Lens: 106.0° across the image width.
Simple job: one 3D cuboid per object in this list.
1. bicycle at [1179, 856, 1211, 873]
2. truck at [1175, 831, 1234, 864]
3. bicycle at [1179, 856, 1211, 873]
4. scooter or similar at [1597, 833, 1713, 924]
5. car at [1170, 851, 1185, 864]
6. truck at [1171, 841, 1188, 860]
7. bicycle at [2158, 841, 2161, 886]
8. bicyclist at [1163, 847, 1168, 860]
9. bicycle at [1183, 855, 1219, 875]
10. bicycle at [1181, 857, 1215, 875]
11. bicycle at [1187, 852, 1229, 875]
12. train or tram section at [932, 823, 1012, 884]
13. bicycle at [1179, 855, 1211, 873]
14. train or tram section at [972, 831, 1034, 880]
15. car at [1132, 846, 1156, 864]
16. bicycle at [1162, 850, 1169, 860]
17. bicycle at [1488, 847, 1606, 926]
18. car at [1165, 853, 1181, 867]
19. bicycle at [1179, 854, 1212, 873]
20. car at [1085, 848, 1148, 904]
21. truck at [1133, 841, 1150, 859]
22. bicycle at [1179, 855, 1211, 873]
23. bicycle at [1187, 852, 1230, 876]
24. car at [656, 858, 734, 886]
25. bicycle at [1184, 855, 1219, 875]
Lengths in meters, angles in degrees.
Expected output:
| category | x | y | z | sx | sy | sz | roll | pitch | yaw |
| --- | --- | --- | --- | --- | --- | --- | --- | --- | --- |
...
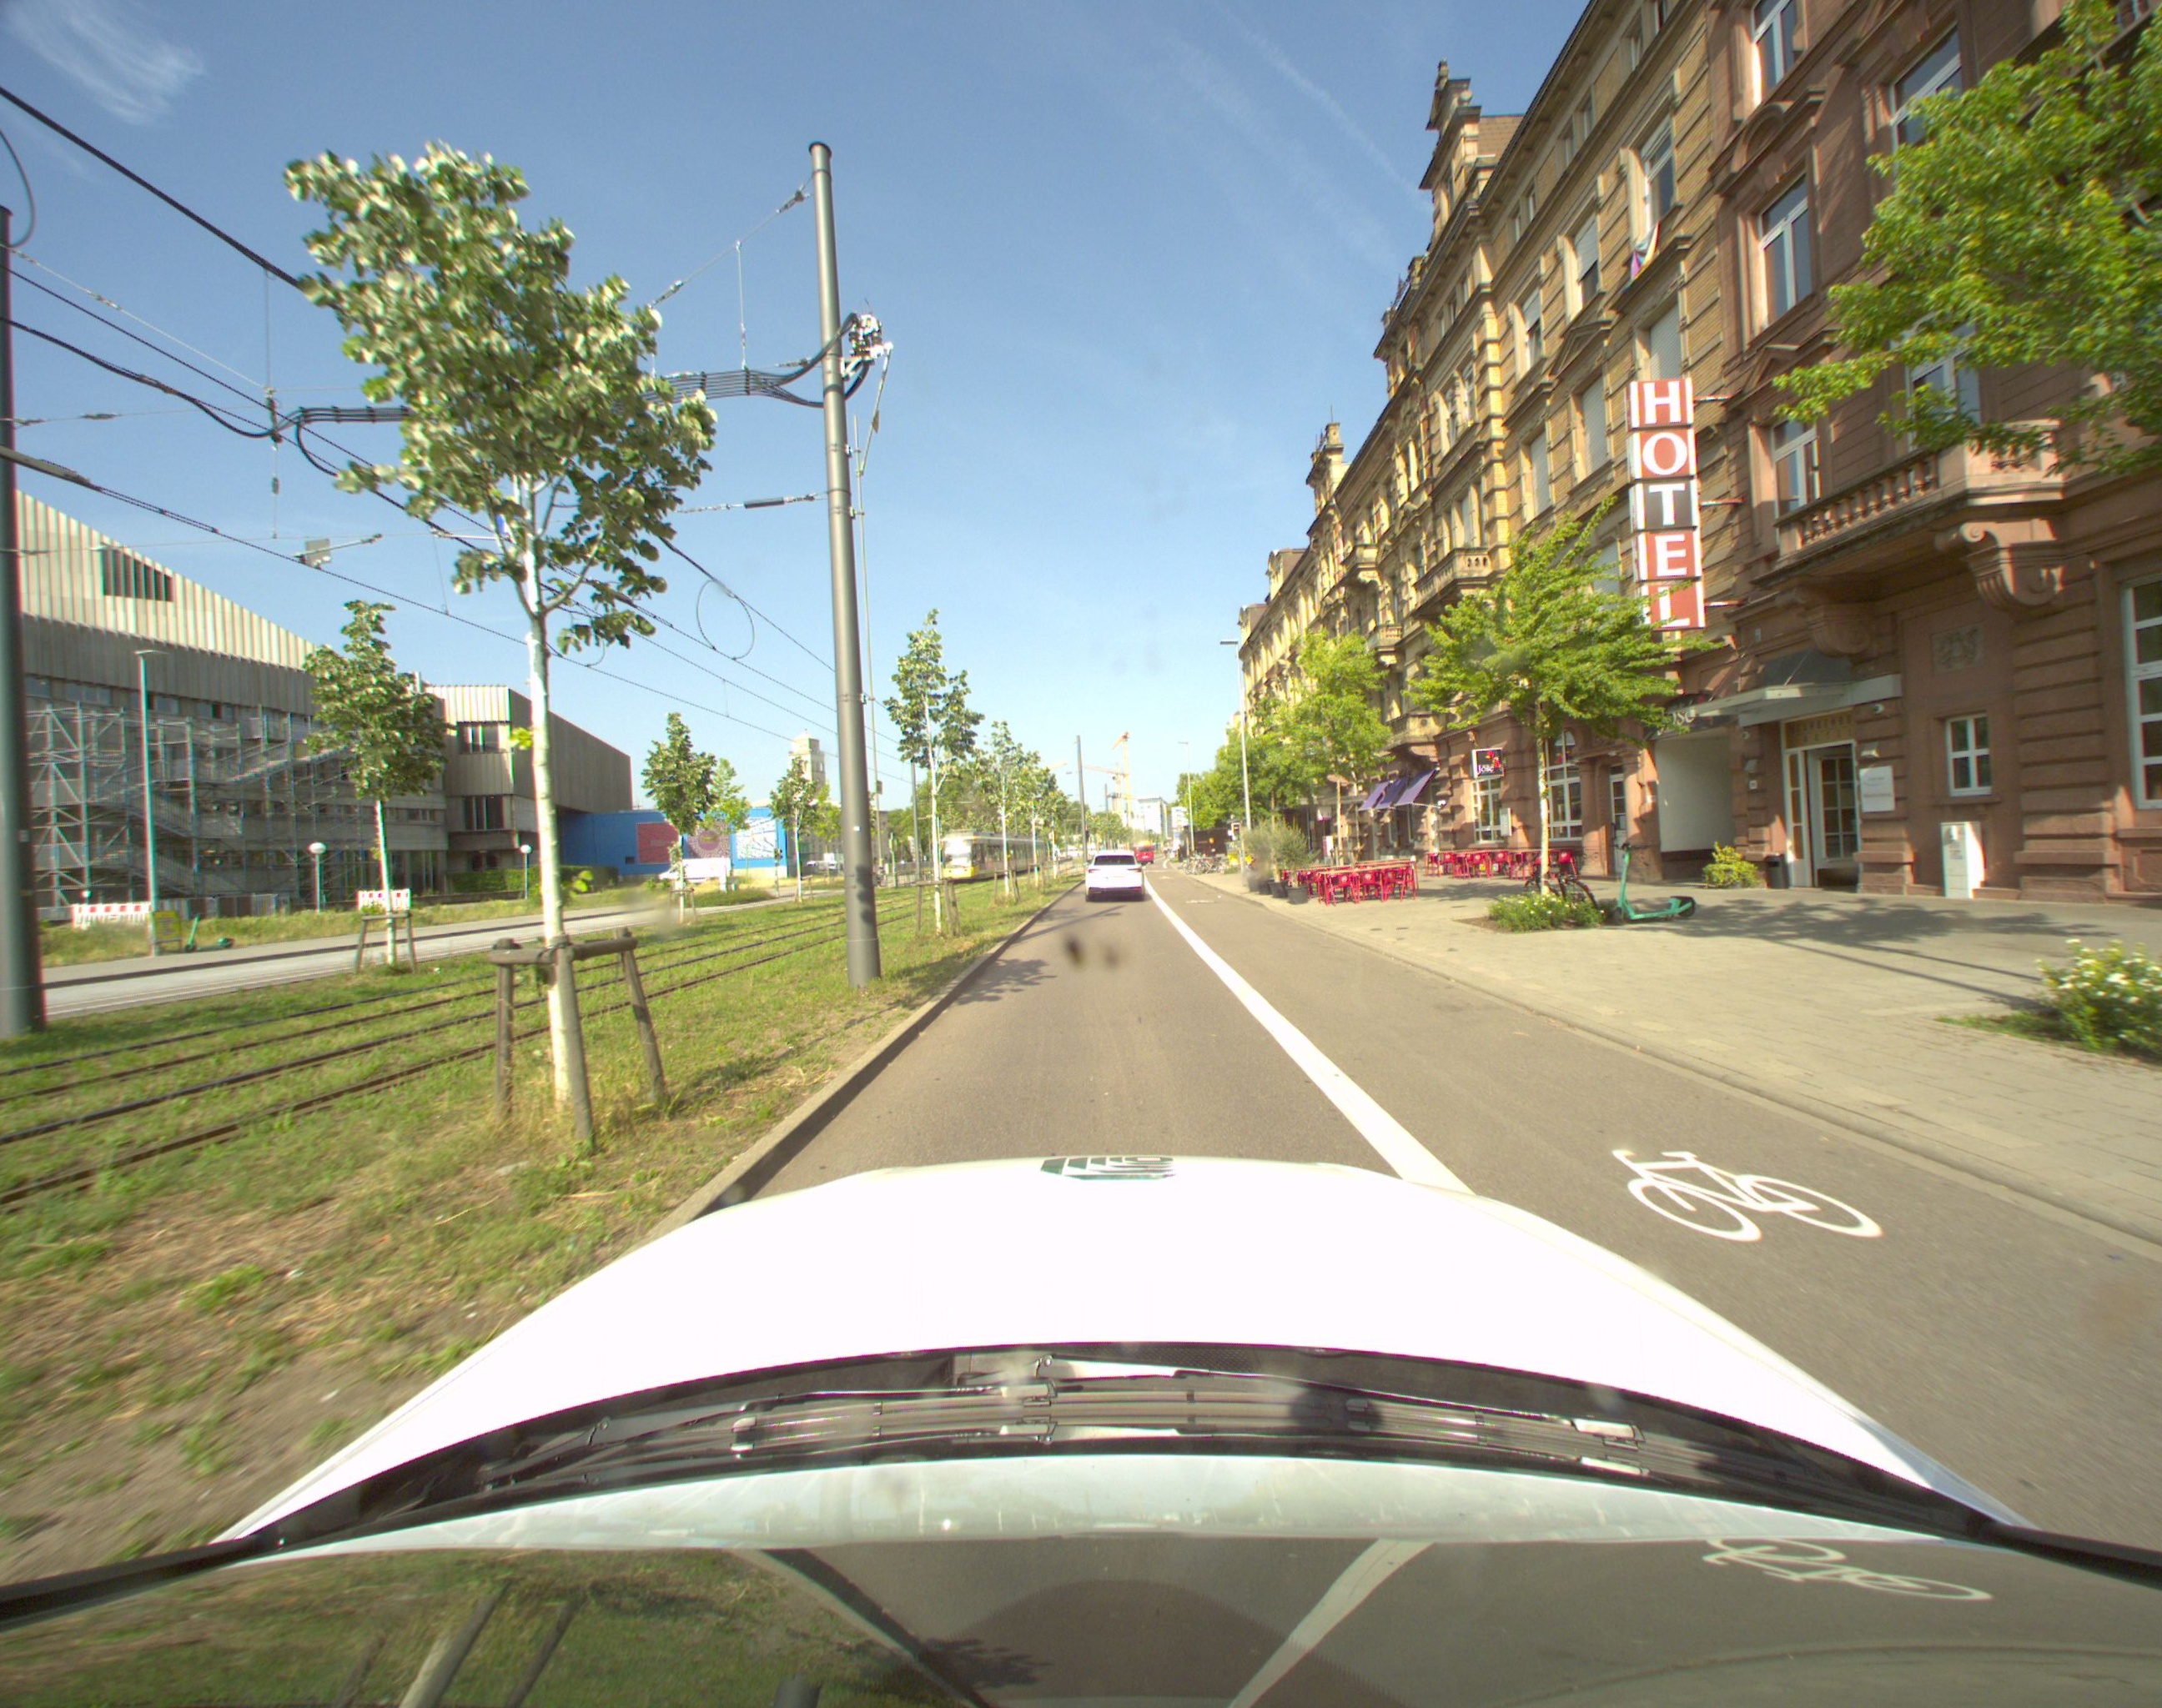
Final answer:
| category | x | y | z | sx | sy | sz | roll | pitch | yaw |
| --- | --- | --- | --- | --- | --- | --- | --- | --- | --- |
| bicycle | 7.190 | 0.655 | 51.542 | 1.925 | 0.945 | 0.429 | -5 | 0 | 5 |
| truck | 11.995 | -0.580 | 79.733 | 2.519 | 3.011 | 6.912 | -3 | 0 | -20 |
| bicycle | 7.251 | 0.659 | 51.983 | 1.925 | 0.945 | 0.429 | -5 | 0 | 5 |
| scooter or similar | 8.073 | 0.340 | 11.484 | 1.250 | 1.157 | 0.340 | -6 | -1 | 5 |
| car | 11.694 | 0.433 | 98.846 | 1.640 | 1.385 | 3.535 | -3 | 0 | 9 |
| truck | 13.606 | -0.497 | 112.340 | 1.985 | 2.508 | 4.004 | -3 | 0 | 4 |
| bicycle | 7.185 | 0.448 | 4.504 | 0.501 | 1.060 | 1.721 | -5 | 0 | 16 |
| bicyclist | 13.114 | -0.071 | 126.279 | 0.706 | 1.895 | 0.844 | -3 | 0 | 3 |
| bicycle | 6.983 | 0.634 | 47.381 | 1.947 | 0.986 | 0.471 | -5 | 0 | 3 |
| bicycle | 6.958 | 0.724 | 48.583 | 1.926 | 0.874 | 0.441 | -5 | 0 | 3 |
| bicycle | 7.147 | 0.550 | 46.008 | 2.230 | 1.104 | 0.519 | -5 | 0 | 3 |
| train or tram section | -7.312 | 0.032 | 56.736 | 2.885 | 3.586 | 12.489 | -4 | -1 | 4 |
| bicycle | 7.099 | 0.647 | 50.681 | 1.925 | 0.945 | 0.441 | -5 | 0 | 5 |
| train or tram section | -6.408 | 0.156 | 69.401 | 2.885 | 3.586 | 12.947 | -4 | -1 | 4 |
| car | 6.436 | 0.073 | 83.125 | 1.987 | 1.684 | 4.367 | -3 | 0 | -1 |
| bicycle | 13.123 | 0.105 | 126.439 | 0.778 | 1.496 | 2.803 | -3 | 0 | 3 |
| bicycle | 7.325 | 0.484 | 12.919 | 0.594 | 1.122 | 1.923 | -3 | 0 | -5 |
| car | 10.743 | 0.647 | 94.642 | 1.640 | 1.499 | 3.535 | -3 | 0 | 9 |
| bicycle | 7.051 | 0.605 | 50.236 | 1.925 | 1.013 | 0.441 | -5 | 0 | 5 |
| car | 1.111 | 0.667 | 26.325 | 1.810 | 1.590 | 4.408 | -2 | 0 | 2 |
| truck | 8.574 | -0.591 | 115.871 | 2.203 | 2.318 | 5.896 | -3 | 0 | 4 |
| bicycle | 7.148 | 0.652 | 51.159 | 1.925 | 0.945 | 0.441 | -5 | 0 | 5 |
| bicycle | 7.103 | 0.545 | 45.453 | 2.230 | 1.104 | 0.589 | -5 | 0 | 3 |
| car | -38.654 | 1.820 | 81.795 | 6.897 | 2.638 | 2.498 | -1 | -1 | -20 |
| bicycle | 6.941 | 0.630 | 46.902 | 1.926 | 0.986 | 0.471 | -5 | 0 | 3 |
